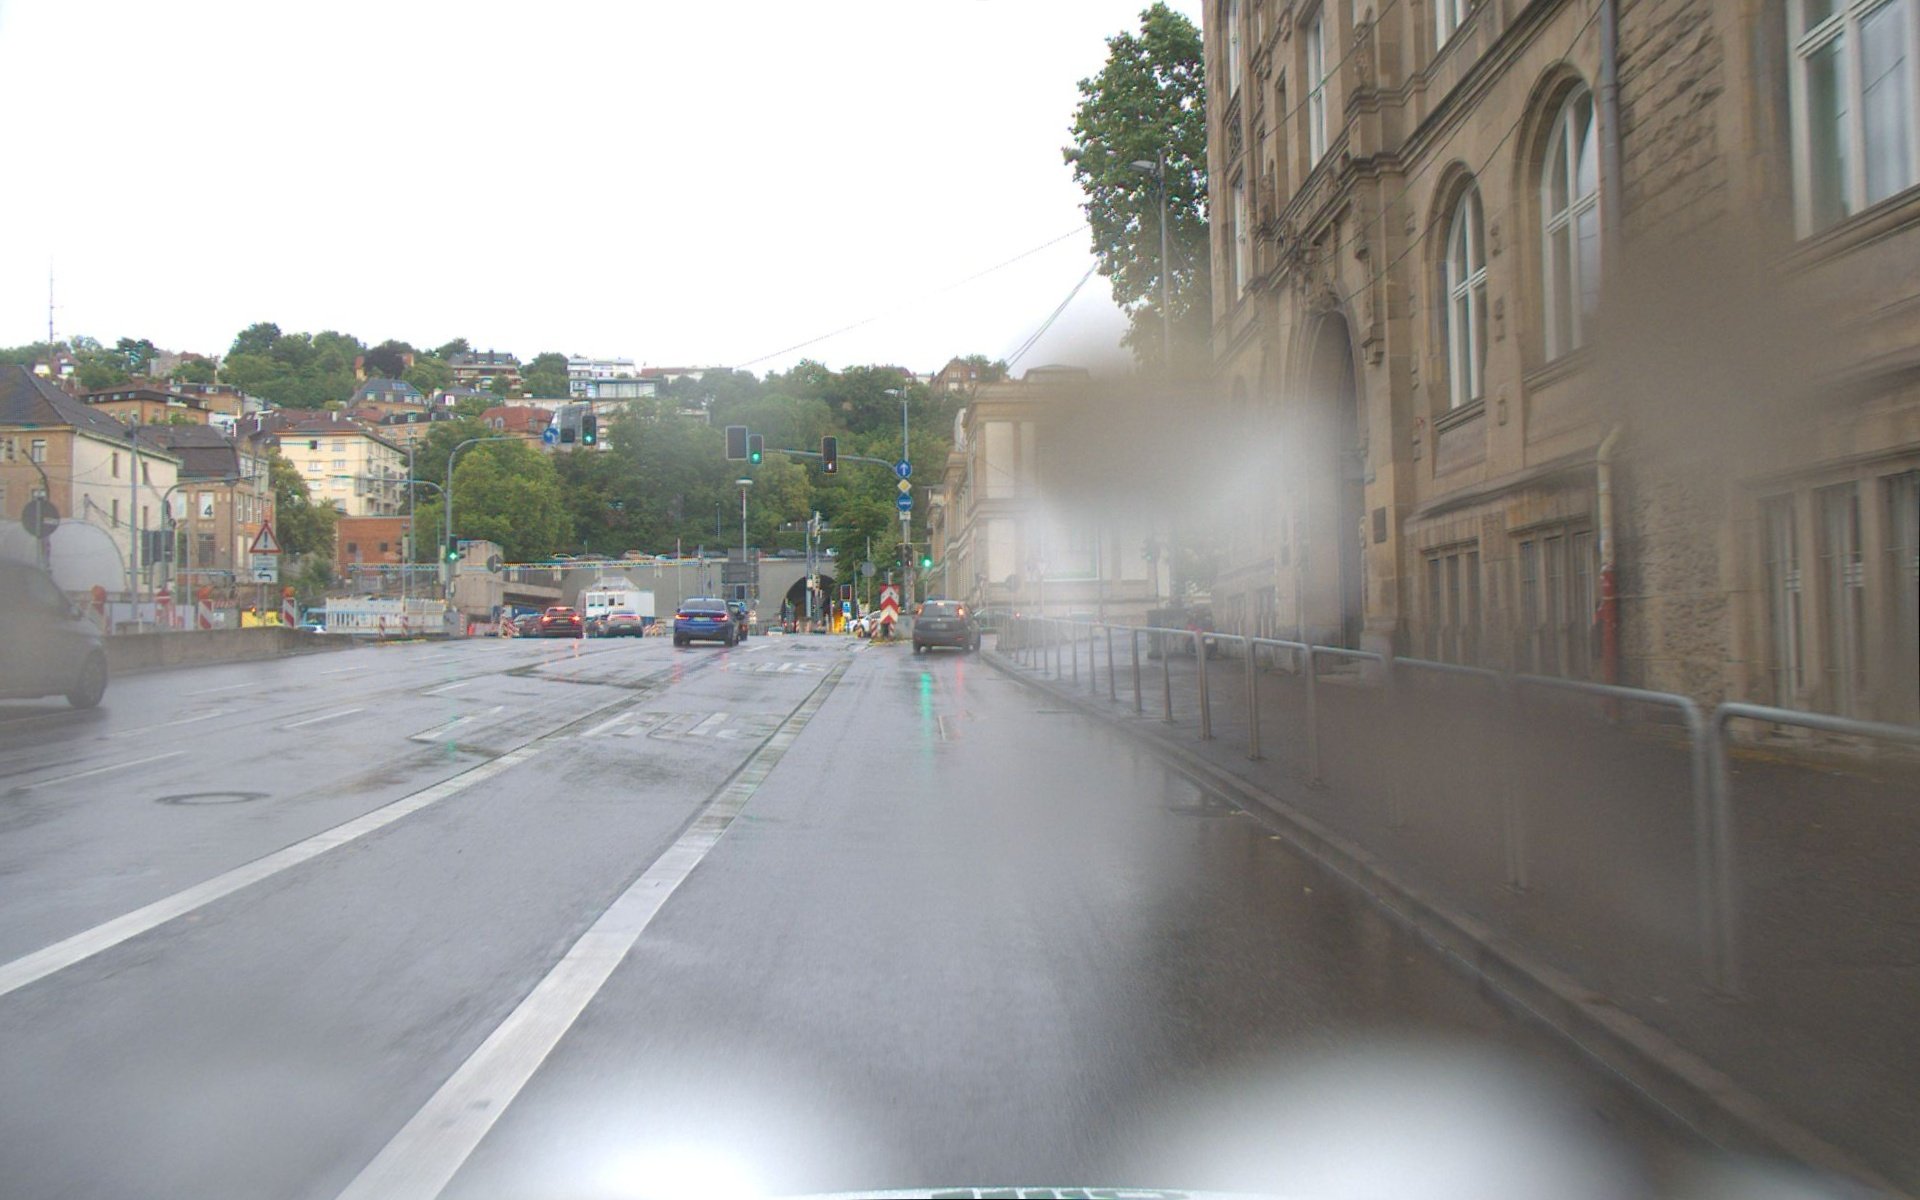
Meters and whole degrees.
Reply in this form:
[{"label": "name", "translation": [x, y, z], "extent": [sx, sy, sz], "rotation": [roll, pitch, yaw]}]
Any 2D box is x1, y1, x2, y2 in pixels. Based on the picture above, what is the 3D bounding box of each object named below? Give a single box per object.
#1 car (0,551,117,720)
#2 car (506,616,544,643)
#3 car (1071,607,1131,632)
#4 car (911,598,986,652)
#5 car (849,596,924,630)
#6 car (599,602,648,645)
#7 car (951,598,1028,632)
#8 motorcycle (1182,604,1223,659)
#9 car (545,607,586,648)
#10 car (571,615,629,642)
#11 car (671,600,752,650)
[{"label": "car", "translation": [-11.686, 0.403, 18.856], "extent": [1.954, 1.871, 4.680], "rotation": [0, -1, -3]}, {"label": "car", "translation": [-24.717, 1.658, 93.885], "extent": [1.750, 1.489, 3.976], "rotation": [0, 0, -20]}, {"label": "car", "translation": [9.949, 1.386, 116.890], "extent": [4.096, 1.730, 1.822], "rotation": [0, 0, -2]}, {"label": "car", "translation": [-0.301, 0.681, 47.784], "extent": [1.634, 1.452, 3.760], "rotation": [1, 0, 7]}, {"label": "car", "translation": [-4.585, 0.785, 102.405], "extent": [4.538, 2.049, 1.997], "rotation": [0, 0, -7]}, {"label": "car", "translation": [-16.753, 1.121, 82.101], "extent": [1.962, 2.049, 4.273], "rotation": [0, 0, -18]}, {"label": "car", "translation": [1.840, 0.923, 103.290], "extent": [4.585, 2.049, 1.997], "rotation": [0, 0, -7]}, {"label": "motorcycle", "translation": [5.291, 0.671, 36.160], "extent": [0.535, 1.158, 1.898], "rotation": [-1, 0, -2]}, {"label": "car", "translation": [-17.912, 1.213, 74.975], "extent": [1.746, 1.780, 3.985], "rotation": [0, 0, -14]}, {"label": "car", "translation": [-20.969, 1.633, 96.315], "extent": [1.764, 1.489, 3.944], "rotation": [0, 0, -39]}, {"label": "car", "translation": [-7.644, 0.755, 51.285], "extent": [1.953, 1.464, 3.999], "rotation": [-1, 0, -1]}]
